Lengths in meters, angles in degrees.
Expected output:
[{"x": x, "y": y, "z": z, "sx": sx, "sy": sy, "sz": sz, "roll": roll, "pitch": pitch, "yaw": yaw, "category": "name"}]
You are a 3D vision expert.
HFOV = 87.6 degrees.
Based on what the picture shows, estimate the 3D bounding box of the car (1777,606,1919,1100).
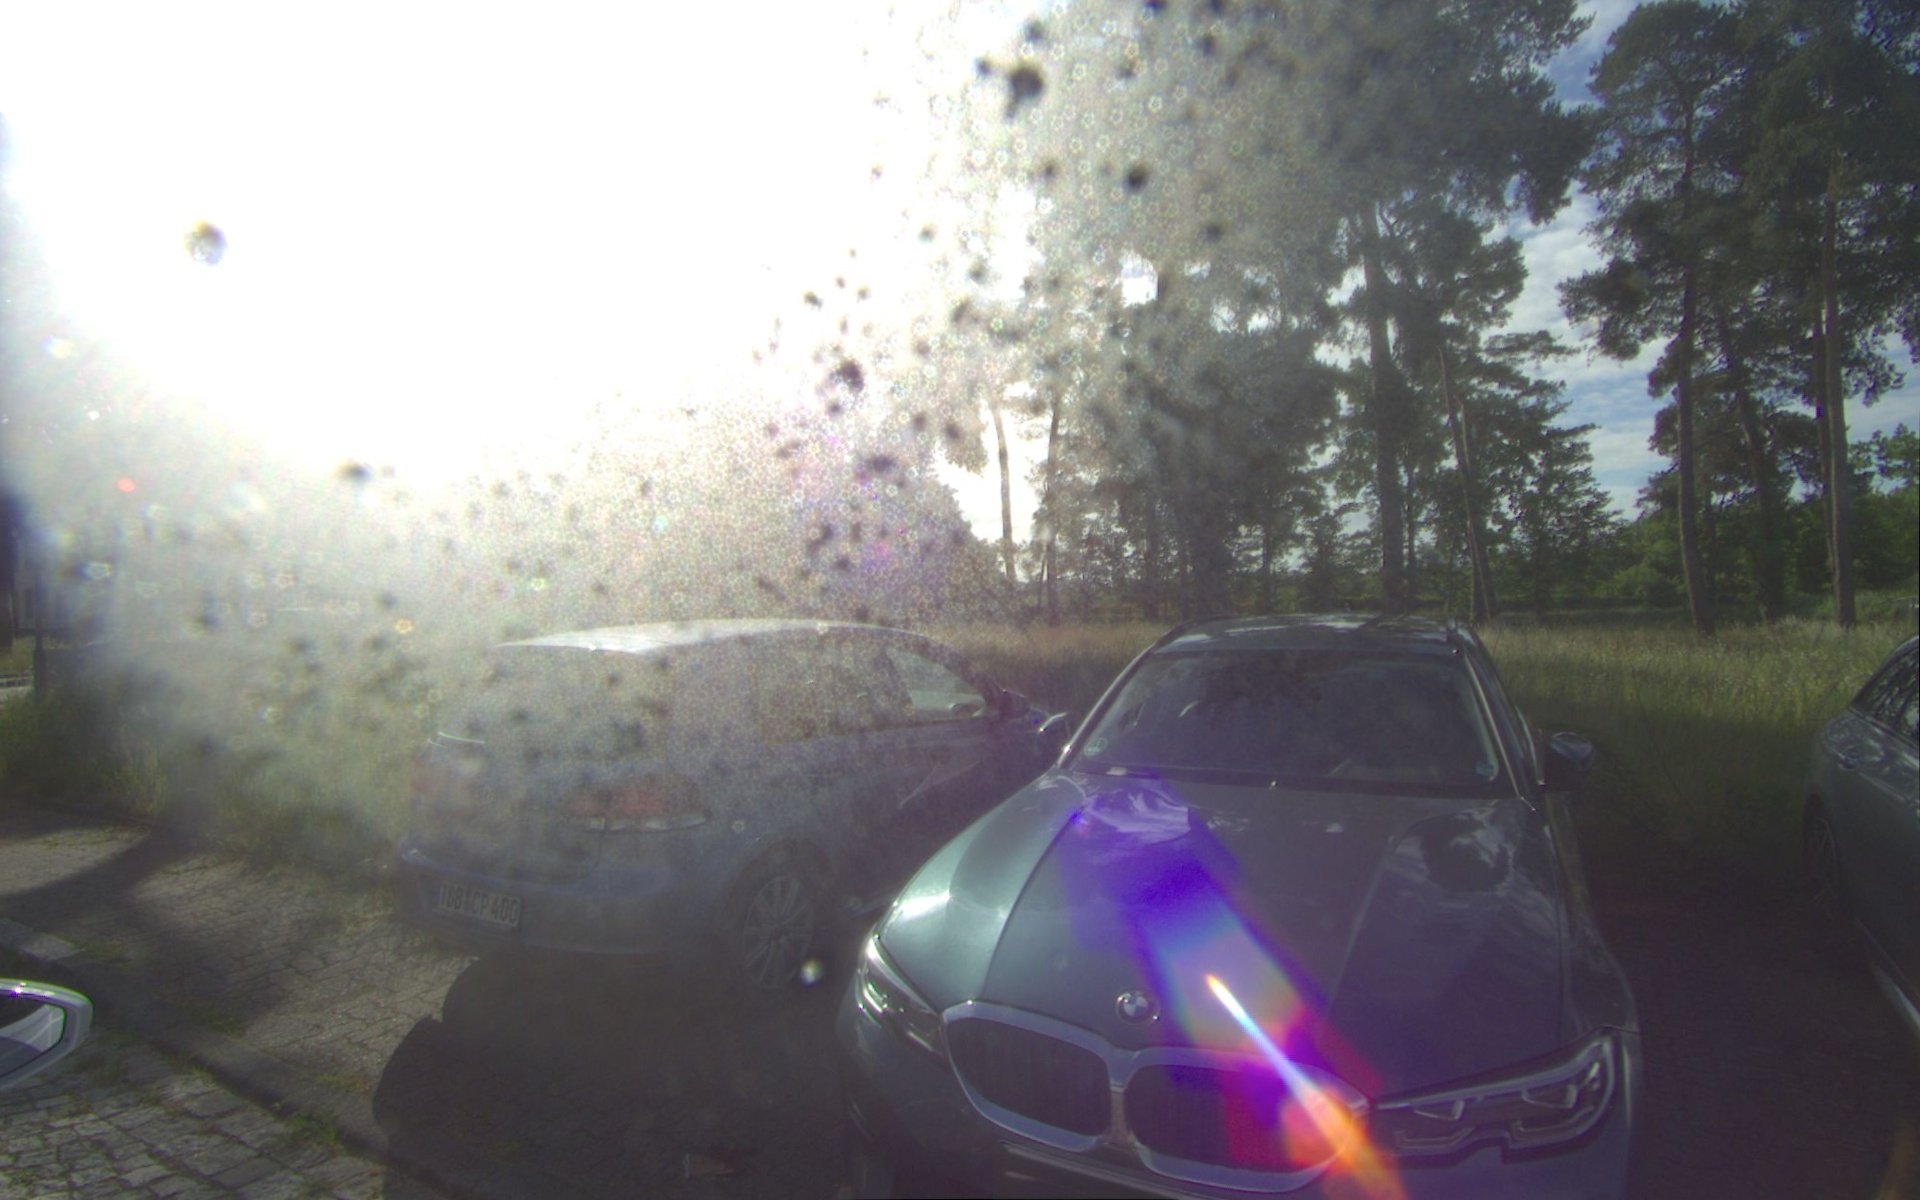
[{"x": 3.578, "y": 0.776, "z": 2.425, "sx": 1.799, "sy": 1.421, "sz": 4.403, "roll": -1, "pitch": 1, "yaw": 30, "category": "car"}]

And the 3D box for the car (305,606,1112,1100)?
[{"x": -0.822, "y": 0.802, "z": 5.284, "sx": 1.843, "sy": 1.480, "sz": 4.009, "roll": -1, "pitch": 0, "yaw": 31, "category": "car"}]

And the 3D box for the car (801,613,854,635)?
[{"x": -9.546, "y": 1.725, "z": 72.420, "sx": 1.818, "sy": 1.483, "sz": 3.984, "roll": -1, "pitch": -1, "yaw": 28, "category": "car"}]

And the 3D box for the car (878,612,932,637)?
[{"x": -3.692, "y": 1.638, "z": 67.847, "sx": 1.827, "sy": 1.619, "sz": 3.984, "roll": -1, "pitch": -1, "yaw": 28, "category": "car"}]

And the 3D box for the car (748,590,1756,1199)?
[{"x": 1.371, "y": 0.754, "z": 3.820, "sx": 1.798, "sy": 1.537, "sz": 4.490, "roll": -1, "pitch": 0, "yaw": 28, "category": "car"}]
